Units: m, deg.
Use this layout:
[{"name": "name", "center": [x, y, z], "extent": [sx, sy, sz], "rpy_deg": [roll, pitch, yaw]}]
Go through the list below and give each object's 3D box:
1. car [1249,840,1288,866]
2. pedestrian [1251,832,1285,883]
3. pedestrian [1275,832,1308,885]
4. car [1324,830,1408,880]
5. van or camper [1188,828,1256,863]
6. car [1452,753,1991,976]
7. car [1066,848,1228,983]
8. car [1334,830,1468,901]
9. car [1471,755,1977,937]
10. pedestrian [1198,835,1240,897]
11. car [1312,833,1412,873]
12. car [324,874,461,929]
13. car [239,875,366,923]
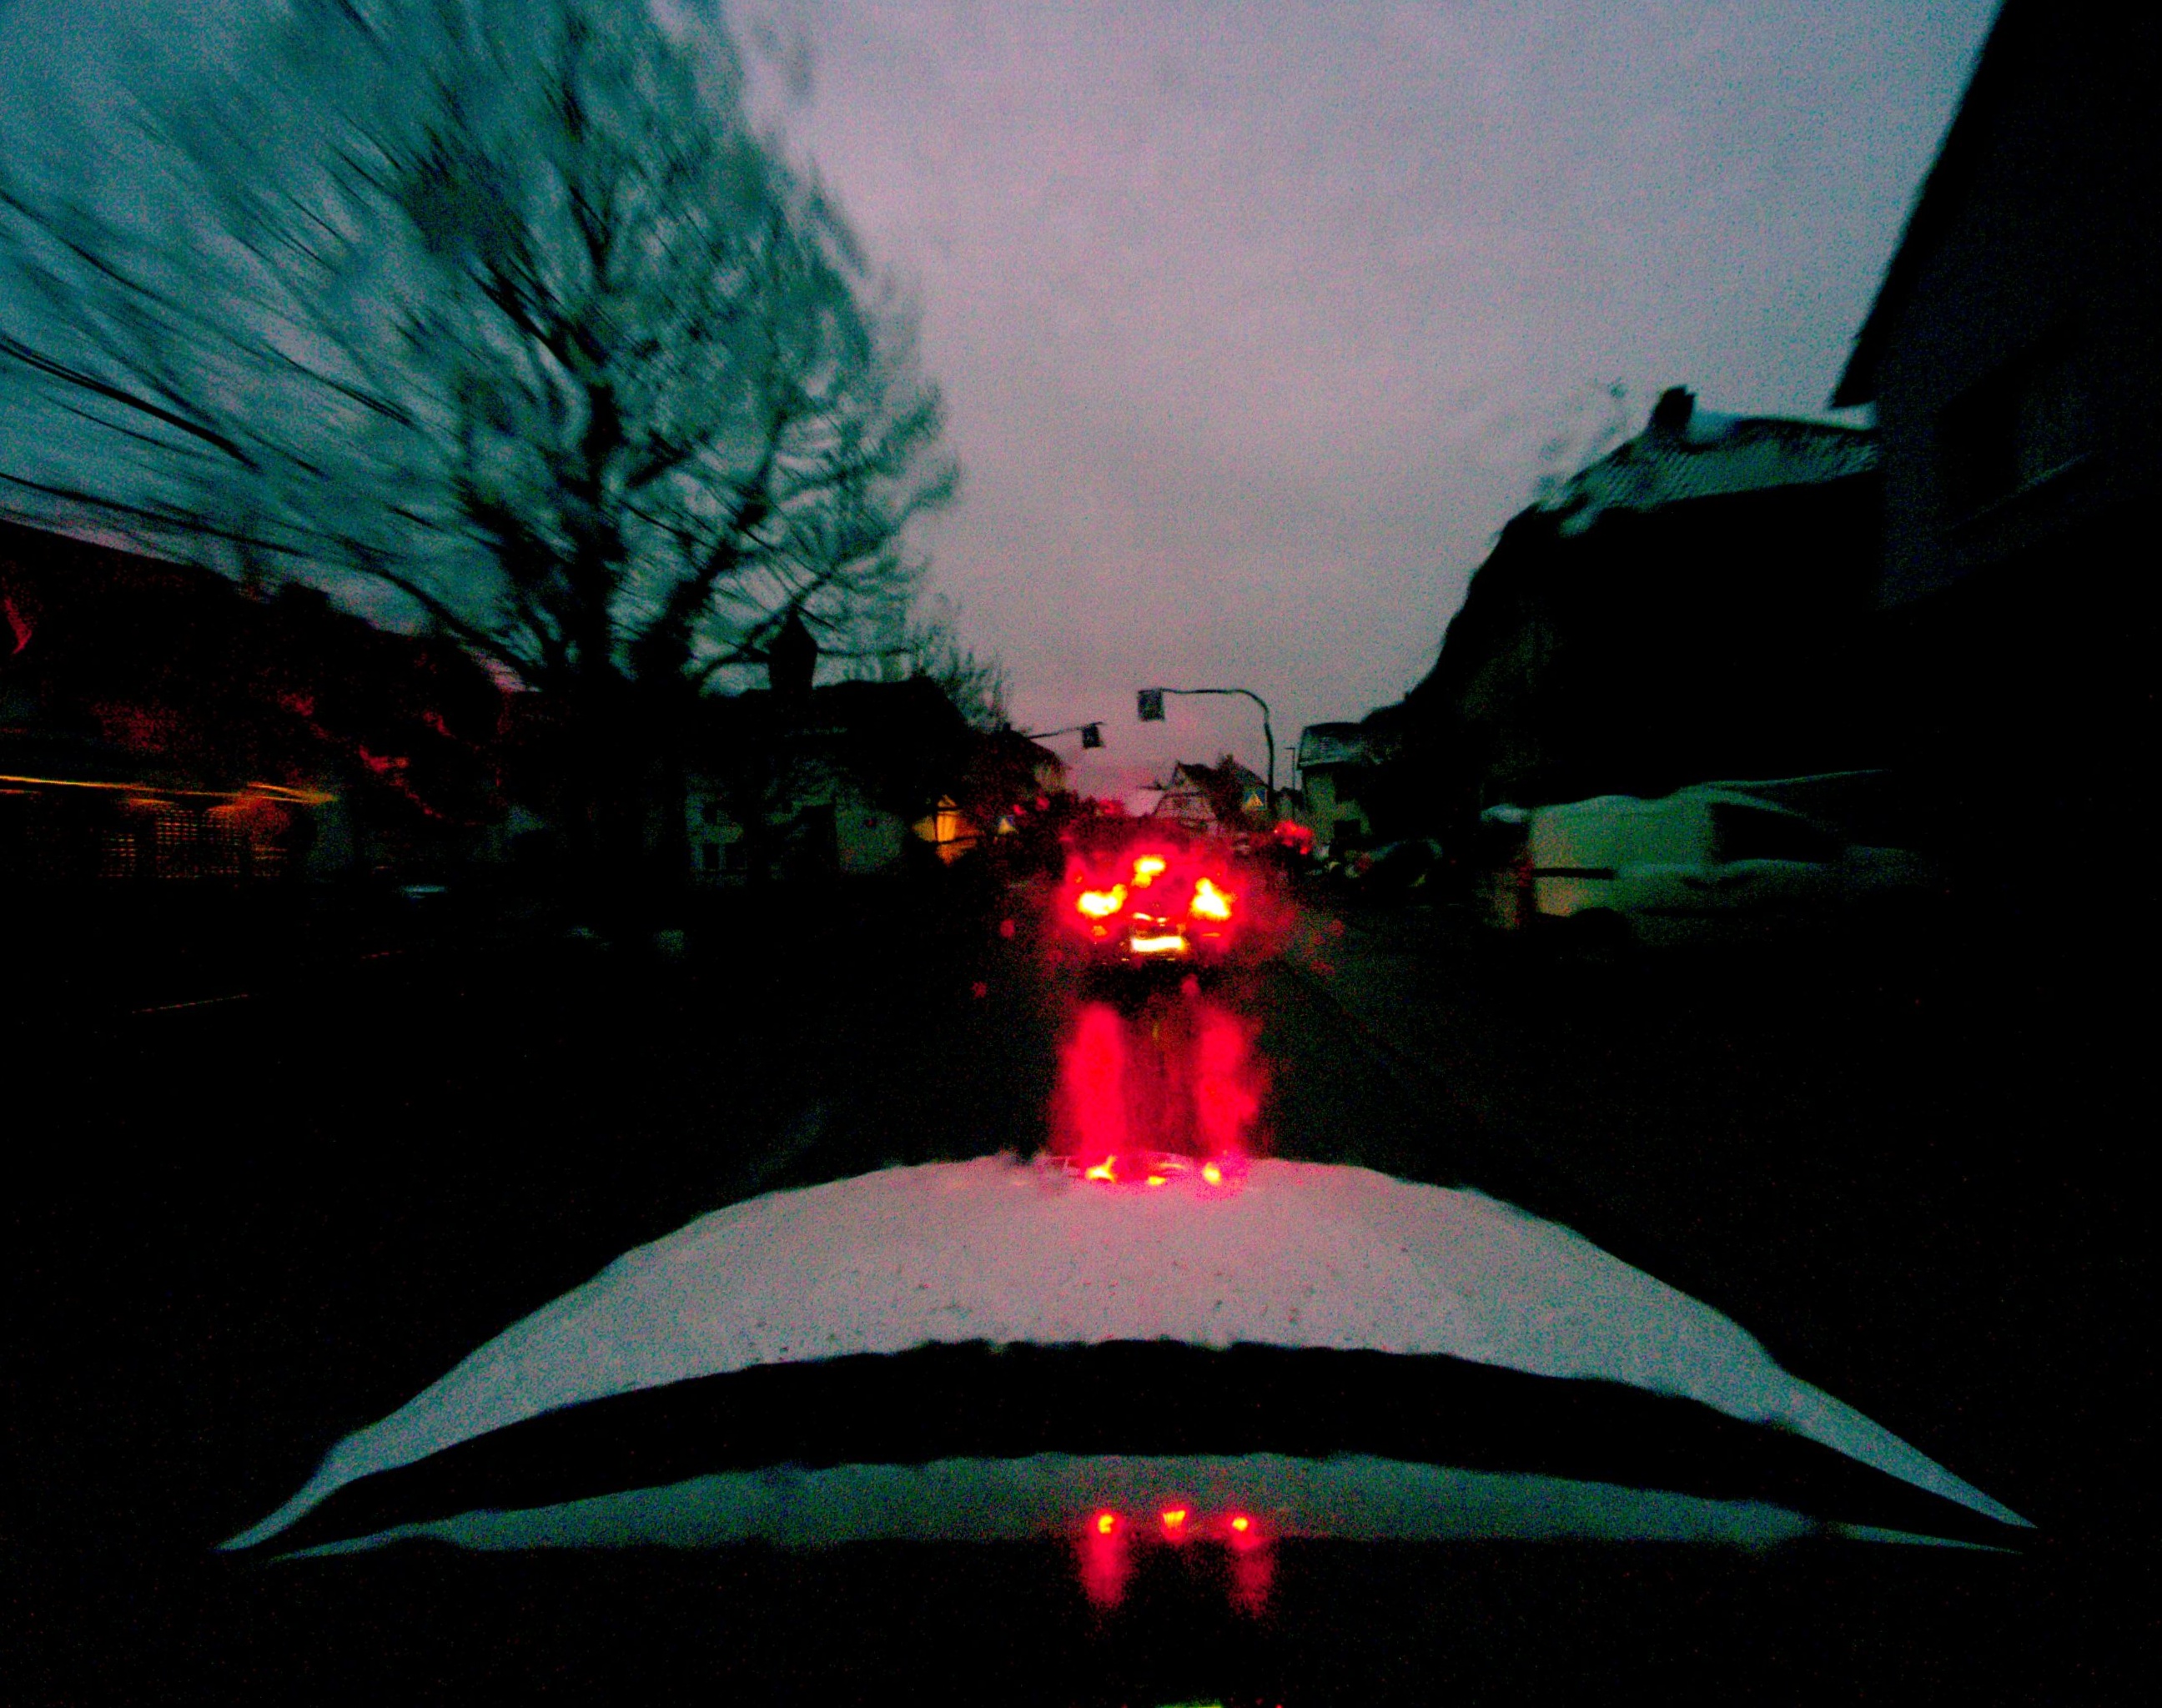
[{"name": "car", "center": [12.598, -0.091, 54.555], "extent": [1.831, 1.637, 4.359], "rpy_deg": [-1, 0, 22]}, {"name": "pedestrian", "center": [6.562, 0.109, 28.525], "extent": [0.859, 1.667, 0.997], "rpy_deg": [-5, -1, 21]}, {"name": "pedestrian", "center": [7.311, 0.147, 28.205], "extent": [0.841, 1.733, 0.977], "rpy_deg": [-5, -1, 22]}, {"name": "car", "center": [9.949, 0.036, 28.550], "extent": [2.564, 1.547, 1.557], "rpy_deg": [-4, 0, 13]}, {"name": "van or camper", "center": [14.210, -0.798, 82.032], "extent": [6.002, 2.955, 2.421], "rpy_deg": [-5, -2, 29]}, {"name": "car", "center": [6.398, 0.135, 8.654], "extent": [4.018, 1.843, 1.868], "rpy_deg": [-4, -1, 9]}, {"name": "car", "center": [0.797, 0.674, 11.153], "extent": [1.789, 1.476, 4.001], "rpy_deg": [-1, 0, 1]}, {"name": "car", "center": [7.570, 0.281, 19.453], "extent": [2.743, 1.474, 1.432], "rpy_deg": [-4, 0, 14]}, {"name": "car", "center": [8.243, -0.058, 11.032], "extent": [4.946, 1.889, 1.944], "rpy_deg": [-4, 0, 13]}, {"name": "pedestrian", "center": [4.076, 0.337, 23.962], "extent": [0.872, 1.735, 0.961], "rpy_deg": [-5, -1, 22]}, {"name": "car", "center": [12.052, -0.038, 35.118], "extent": [3.870, 1.474, 1.758], "rpy_deg": [-4, 0, 16]}, {"name": "car", "center": [-22.717, 1.519, 26.909], "extent": [3.571, 1.612, 1.721], "rpy_deg": [0, 1, 16]}, {"name": "car", "center": [-23.361, 1.313, 24.449], "extent": [3.020, 1.126, 1.536], "rpy_deg": [3, 2, 19]}]
